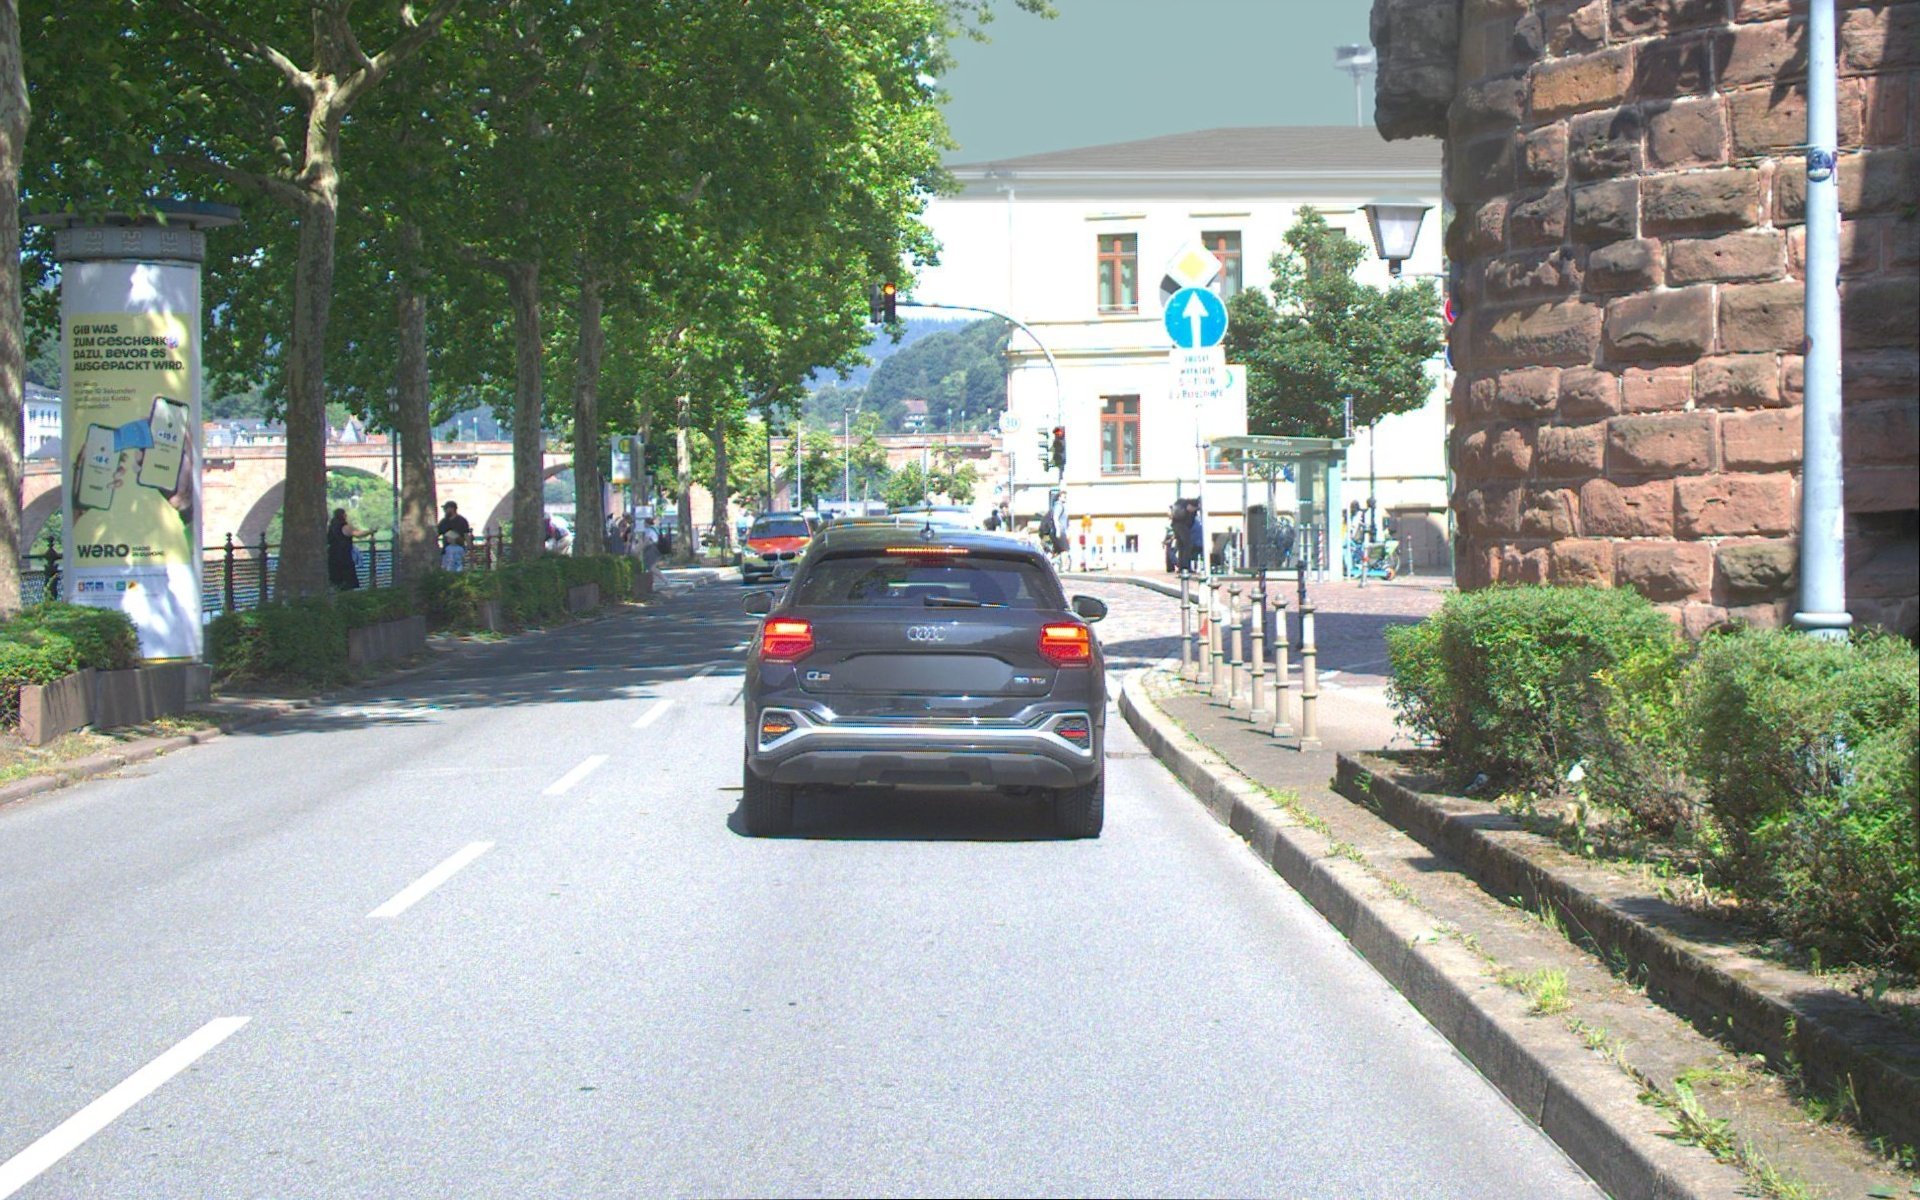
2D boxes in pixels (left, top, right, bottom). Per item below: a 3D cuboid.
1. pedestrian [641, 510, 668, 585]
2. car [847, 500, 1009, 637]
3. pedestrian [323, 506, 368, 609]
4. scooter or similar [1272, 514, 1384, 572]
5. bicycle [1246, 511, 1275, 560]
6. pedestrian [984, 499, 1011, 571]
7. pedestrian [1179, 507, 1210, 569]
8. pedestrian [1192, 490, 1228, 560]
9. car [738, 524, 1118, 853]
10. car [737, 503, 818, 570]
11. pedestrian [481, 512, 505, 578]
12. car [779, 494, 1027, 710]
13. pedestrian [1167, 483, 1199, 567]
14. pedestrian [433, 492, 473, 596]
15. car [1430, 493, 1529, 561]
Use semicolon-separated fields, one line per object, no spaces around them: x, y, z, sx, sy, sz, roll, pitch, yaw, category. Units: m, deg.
-6.763;-1.164;76.095;0.517;1.632;0.439;-2;1;-7;pedestrian
-0.359;-0.404;40.544;1.801;1.517;3.716;-1;2;0;car
-10.260;-0.713;57.432;0.645;1.711;0.665;1;1;-3;pedestrian
6.325;-0.980;59.091;1.845;0.960;0.429;1;1;-1;scooter or similar
6.111;-1.318;69.962;0.450;0.971;1.400;1;1;0;bicycle
0.807;-1.411;74.424;0.557;1.552;0.660;1;1;1;pedestrian
4.634;-1.225;67.973;0.546;1.197;0.522;1;1;1;pedestrian
5.598;-1.686;77.083;0.747;1.552;0.588;1;1;1;pedestrian
-0.196;0.377;17.916;1.748;1.489;3.629;1;2;-1;car
-4.340;-1.539;82.100;1.615;1.517;3.476;-2;2;1;car
-10.939;-1.298;80.499;0.497;1.532;0.680;2;1;-7;pedestrian
-0.424;-0.036;27.458;1.801;1.557;3.716;-2;2;0;car
4.340;-1.456;66.890;0.557;1.627;0.660;1;1;1;pedestrian
-8.509;-0.944;57.714;0.563;1.735;0.665;-2;1;-3;pedestrian
13.834;-1.949;91.813;1.993;1.710;4.000;1;1;0;car
